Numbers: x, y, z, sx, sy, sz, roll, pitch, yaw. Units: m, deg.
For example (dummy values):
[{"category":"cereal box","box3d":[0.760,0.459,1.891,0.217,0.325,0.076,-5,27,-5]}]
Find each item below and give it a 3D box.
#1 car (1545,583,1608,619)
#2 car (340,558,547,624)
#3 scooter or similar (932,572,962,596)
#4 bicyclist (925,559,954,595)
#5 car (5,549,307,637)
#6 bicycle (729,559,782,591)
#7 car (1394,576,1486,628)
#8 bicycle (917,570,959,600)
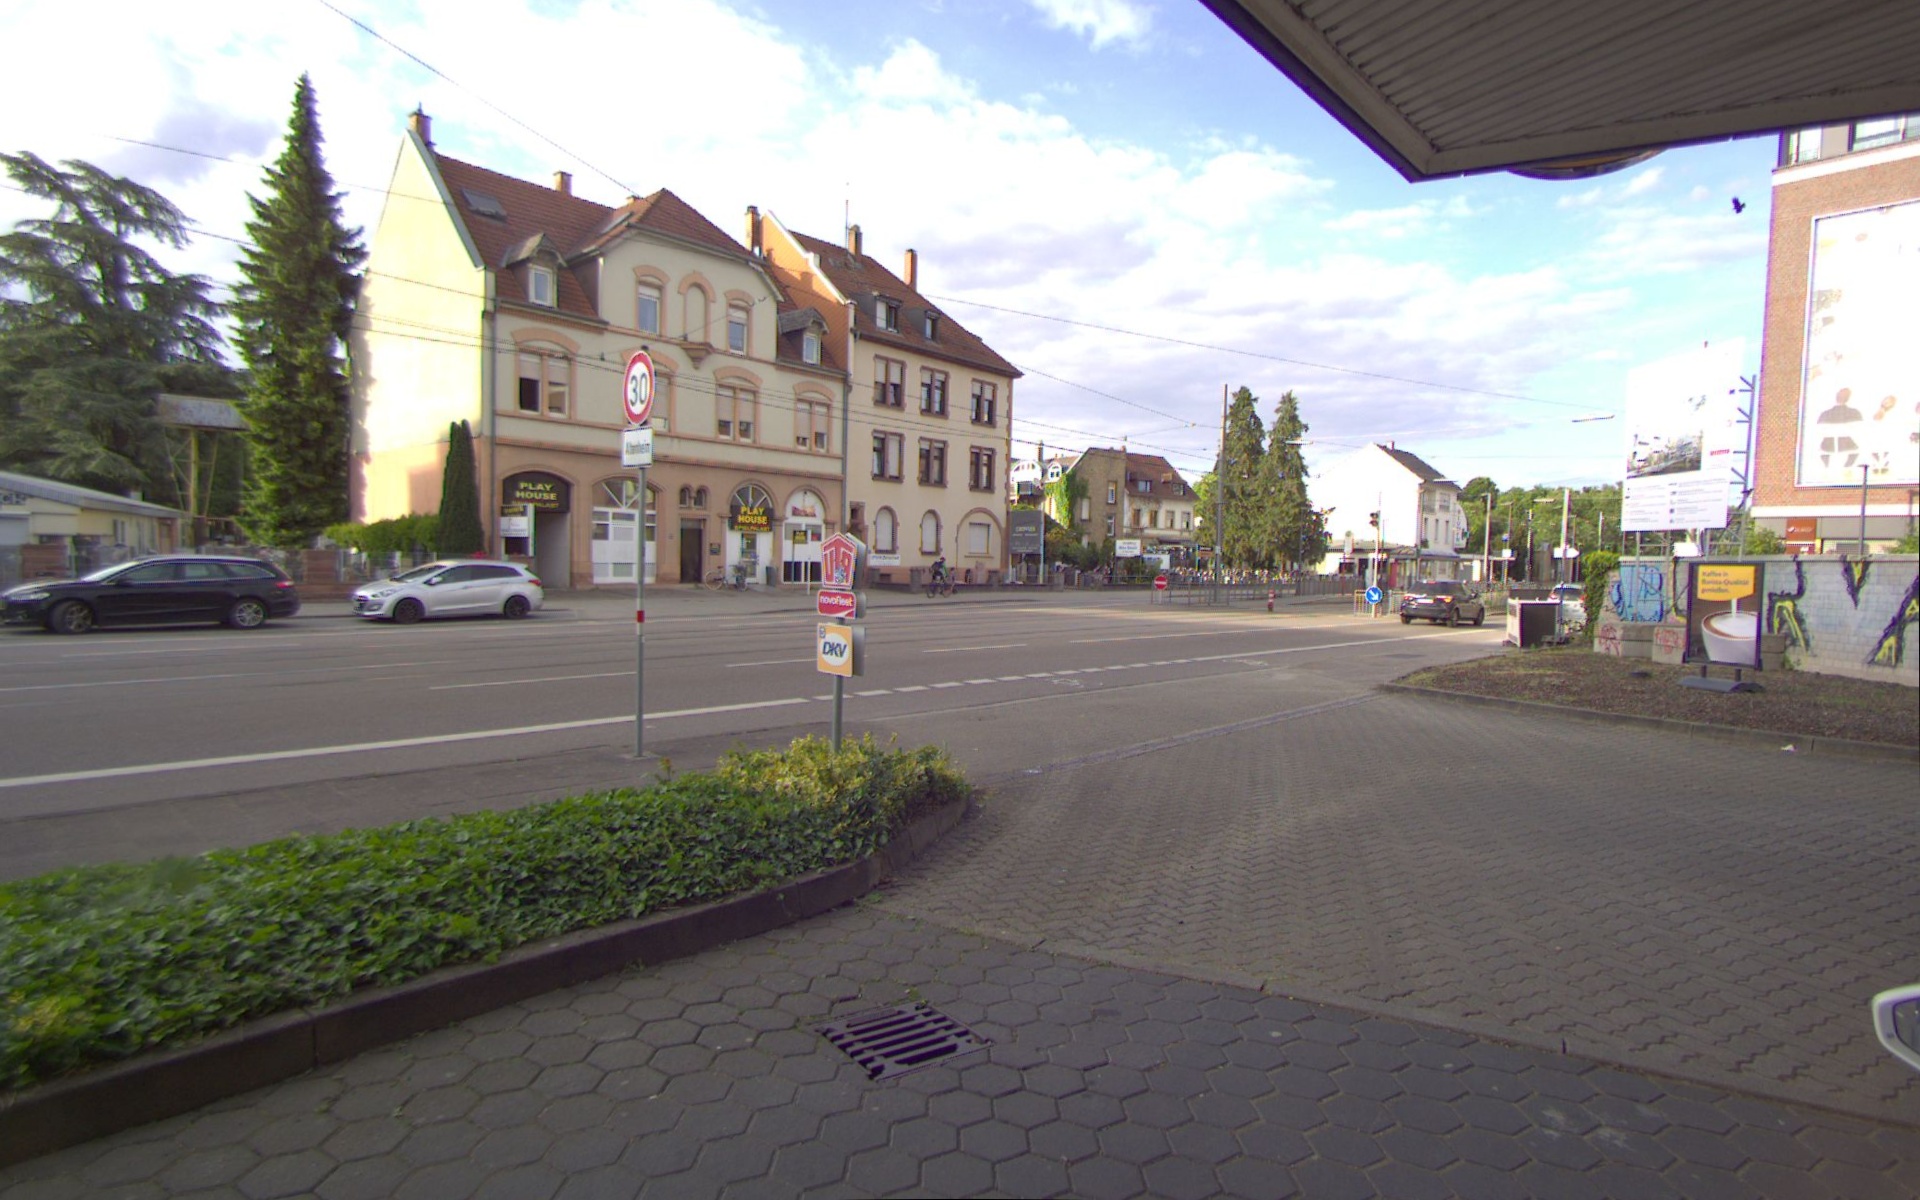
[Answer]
[{"category":"car","box3d":[27.528,0.014,44.813,1.649,1.419,3.687,5,4,43]},{"category":"car","box3d":[-12.933,-0.250,25.359,1.718,1.502,4.357,3,2,41]},{"category":"scooter or similar","box3d":[-0.571,-0.717,45.096,0.437,1.006,1.460,6,5,41]},{"category":"bicyclist","box3d":[-0.881,-0.979,42.739,0.740,1.428,0.917,7,6,38]},{"category":"car","box3d":[-16.491,-0.173,20.821,1.827,1.542,4.642,5,4,40]},{"category":"bicycle","box3d":[-8.252,-1.003,40.630,0.741,1.219,2.011,8,5,41]},{"category":"car","box3d":[16.017,0.032,33.460,1.649,1.568,3.687,5,4,43]},{"category":"bicycle","box3d":[-0.917,-0.651,42.728,0.740,1.219,1.813,7,6,38]}]
